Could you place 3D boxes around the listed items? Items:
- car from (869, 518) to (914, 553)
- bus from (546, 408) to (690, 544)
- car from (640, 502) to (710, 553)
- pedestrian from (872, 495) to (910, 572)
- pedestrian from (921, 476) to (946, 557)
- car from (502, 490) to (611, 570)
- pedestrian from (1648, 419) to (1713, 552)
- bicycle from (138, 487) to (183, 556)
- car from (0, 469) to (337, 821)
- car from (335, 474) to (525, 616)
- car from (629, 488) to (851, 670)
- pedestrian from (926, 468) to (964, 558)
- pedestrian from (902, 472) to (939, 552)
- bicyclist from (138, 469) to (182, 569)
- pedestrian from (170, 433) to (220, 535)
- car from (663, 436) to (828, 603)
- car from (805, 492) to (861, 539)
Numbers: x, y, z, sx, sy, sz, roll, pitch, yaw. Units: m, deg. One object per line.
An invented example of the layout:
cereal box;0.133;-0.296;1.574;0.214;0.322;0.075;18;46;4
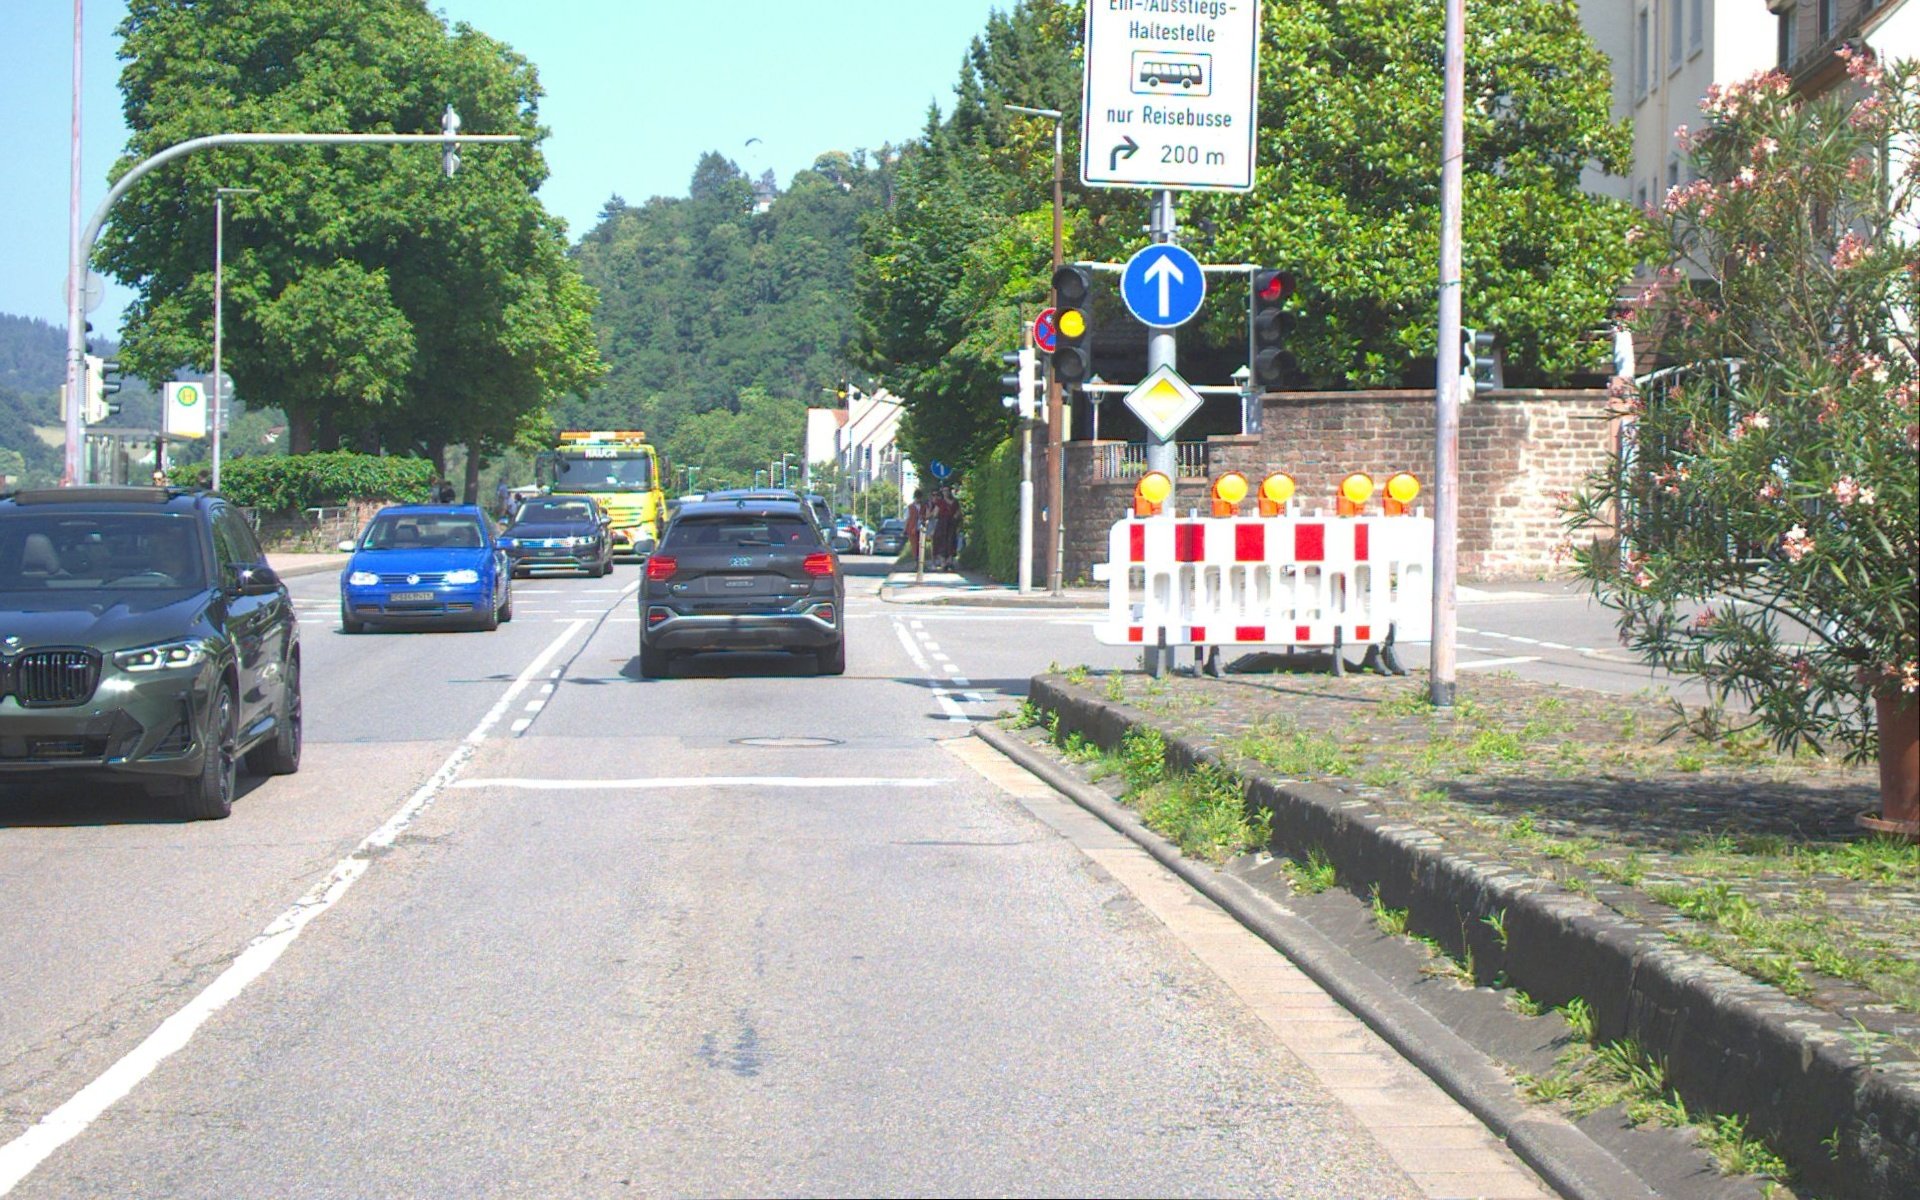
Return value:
car;-3.069;-2.883;153.704;1.993;1.448;4.009;0;0;-1
bus;-7.597;-2.775;77.227;2.597;2.886;8.448;0;2;-1
car;-8.312;-2.123;100.456;1.815;1.393;4.347;0;2;-2
pedestrian;-1.515;-1.464;75.571;0.728;1.644;0.882;-2;1;1
pedestrian;-0.531;-1.665;68.703;0.455;1.600;0.579;1;1;-2
car;-7.371;-1.303;63.093;1.808;1.401;4.358;0;2;-4
pedestrian;9.288;-1.469;44.297;0.724;1.700;0.707;0;1;20
bicycle;-13.236;-1.301;56.912;0.666;1.109;2.035;-1;2;-12
car;-4.586;0.160;18.672;1.862;1.675;4.455;-1;1;-4
car;-6.092;-0.677;39.896;1.808;1.503;4.001;-2;2;-4
car;-1.931;-0.242;30.805;1.857;1.518;4.001;0;2;-2
pedestrian;-0.294;-1.695;67.240;0.680;1.736;0.913;1;1;-2
pedestrian;-0.820;-1.821;70.800;0.735;1.628;0.920;0;2;-1
bicyclist;-13.244;-1.345;56.900;0.666;1.626;0.980;-1;1;-12
pedestrian;-14.720;-2.225;66.151;0.753;1.911;1.009;0;0;-1
car;-2.724;-0.975;43.650;1.993;2.007;4.000;0;0;-4
car;-4.204;-2.805;114.249;1.795;1.477;4.001;1;1;-2
